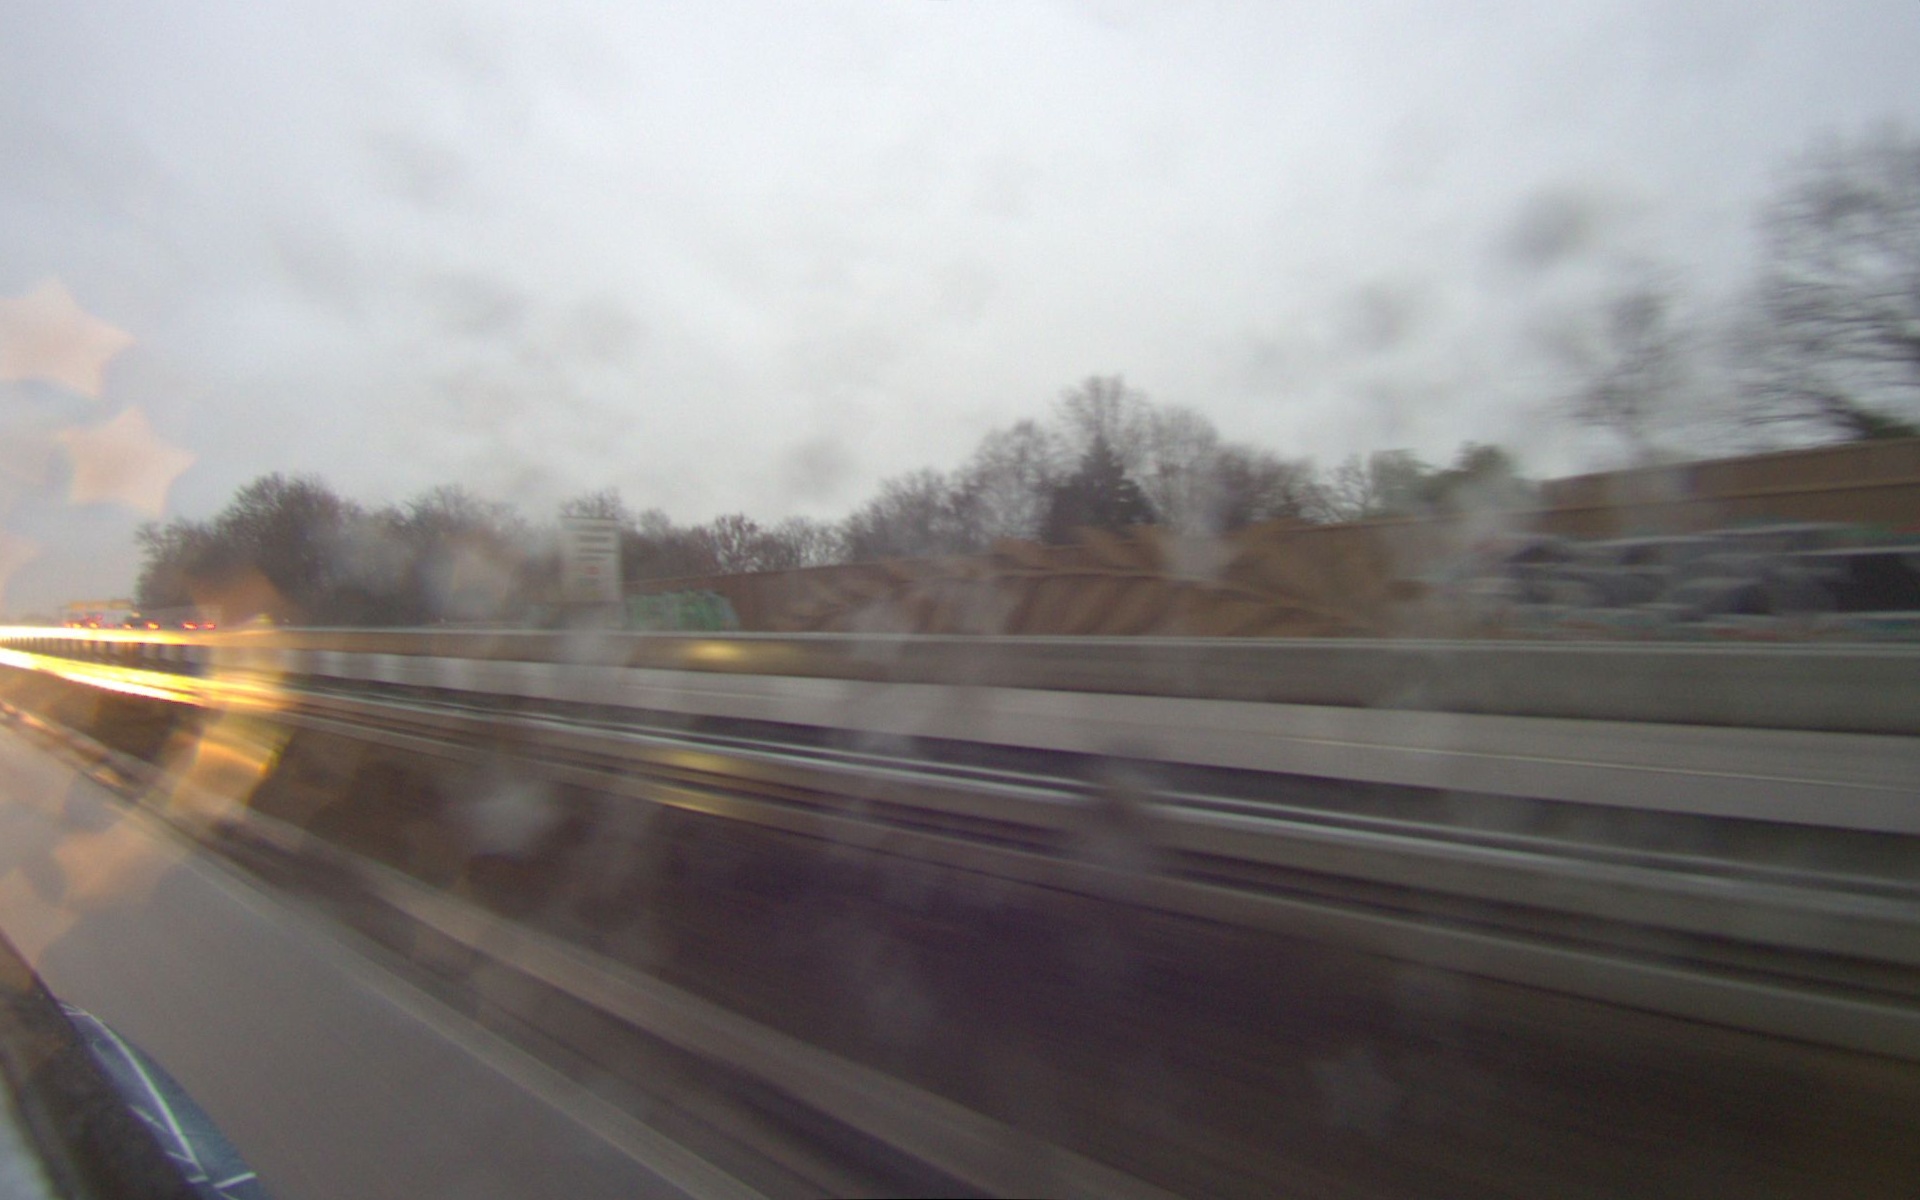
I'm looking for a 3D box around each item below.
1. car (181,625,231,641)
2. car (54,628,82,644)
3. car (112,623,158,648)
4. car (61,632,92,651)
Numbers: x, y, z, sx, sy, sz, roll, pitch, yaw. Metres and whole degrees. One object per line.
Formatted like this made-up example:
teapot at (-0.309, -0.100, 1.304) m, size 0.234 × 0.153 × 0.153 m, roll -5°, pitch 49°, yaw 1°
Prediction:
car at (-58.195, 2.549, 78.122) m, size 3.987 × 1.170 × 1.783 m, roll -1°, pitch 0°, yaw 32°
car at (-96.162, 3.900, 109.071) m, size 4.647 × 1.639 × 1.845 m, roll -1°, pitch -1°, yaw 44°
car at (-51.325, 2.181, 62.928) m, size 3.681 × 1.452 × 1.679 m, roll -1°, pitch 0°, yaw 42°
car at (-82.749, 3.839, 94.774) m, size 4.781 × 1.639 × 1.845 m, roll -1°, pitch -1°, yaw 44°
